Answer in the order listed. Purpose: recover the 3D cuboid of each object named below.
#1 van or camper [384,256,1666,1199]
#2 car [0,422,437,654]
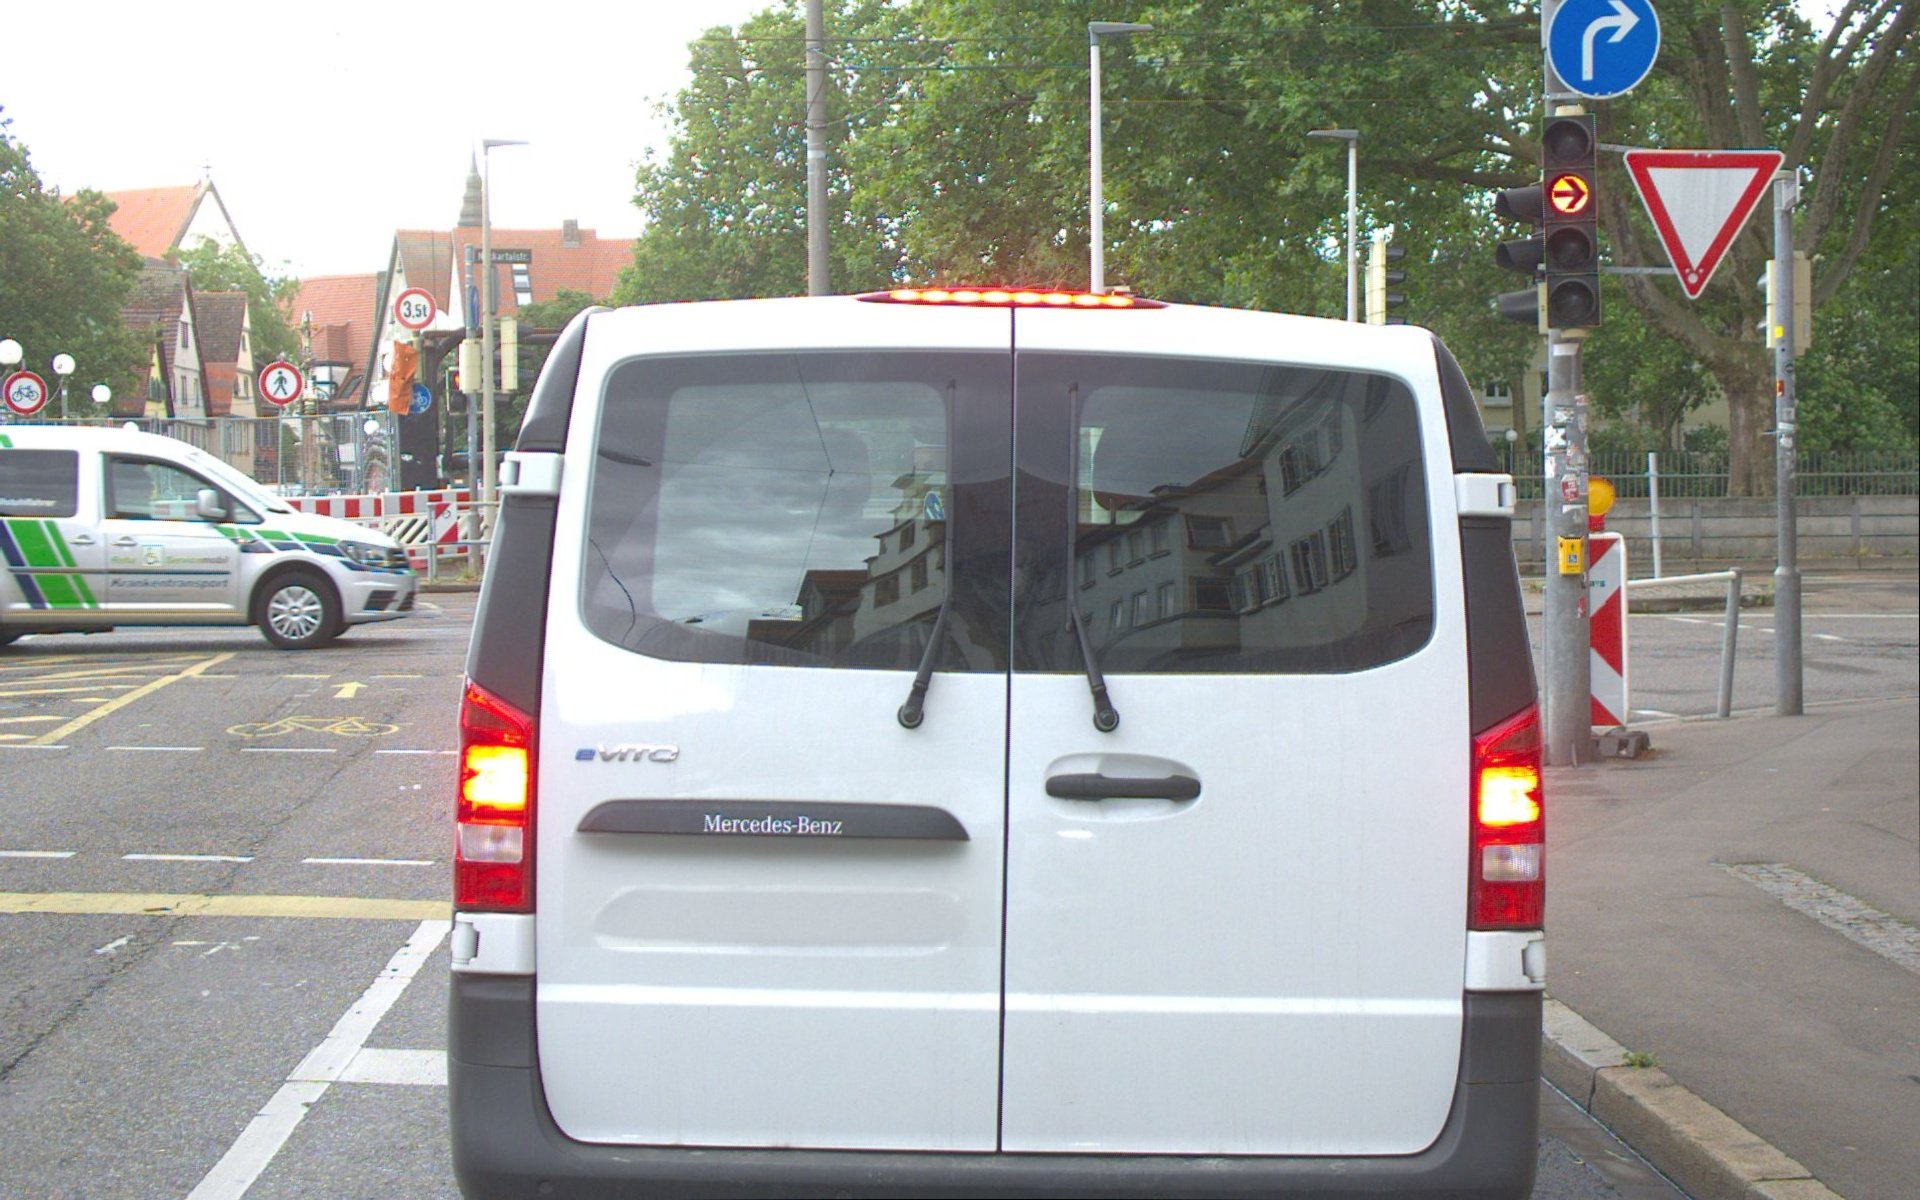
[{"bbox_3d":[0.040,0.425,7.473,1.937,1.918,4.441,1,1,-2],"label":"van or camper"},{"bbox_3d":[-6.544,-0.522,27.938,4.346,1.796,2.000,-1,2,-3],"label":"car"}]
